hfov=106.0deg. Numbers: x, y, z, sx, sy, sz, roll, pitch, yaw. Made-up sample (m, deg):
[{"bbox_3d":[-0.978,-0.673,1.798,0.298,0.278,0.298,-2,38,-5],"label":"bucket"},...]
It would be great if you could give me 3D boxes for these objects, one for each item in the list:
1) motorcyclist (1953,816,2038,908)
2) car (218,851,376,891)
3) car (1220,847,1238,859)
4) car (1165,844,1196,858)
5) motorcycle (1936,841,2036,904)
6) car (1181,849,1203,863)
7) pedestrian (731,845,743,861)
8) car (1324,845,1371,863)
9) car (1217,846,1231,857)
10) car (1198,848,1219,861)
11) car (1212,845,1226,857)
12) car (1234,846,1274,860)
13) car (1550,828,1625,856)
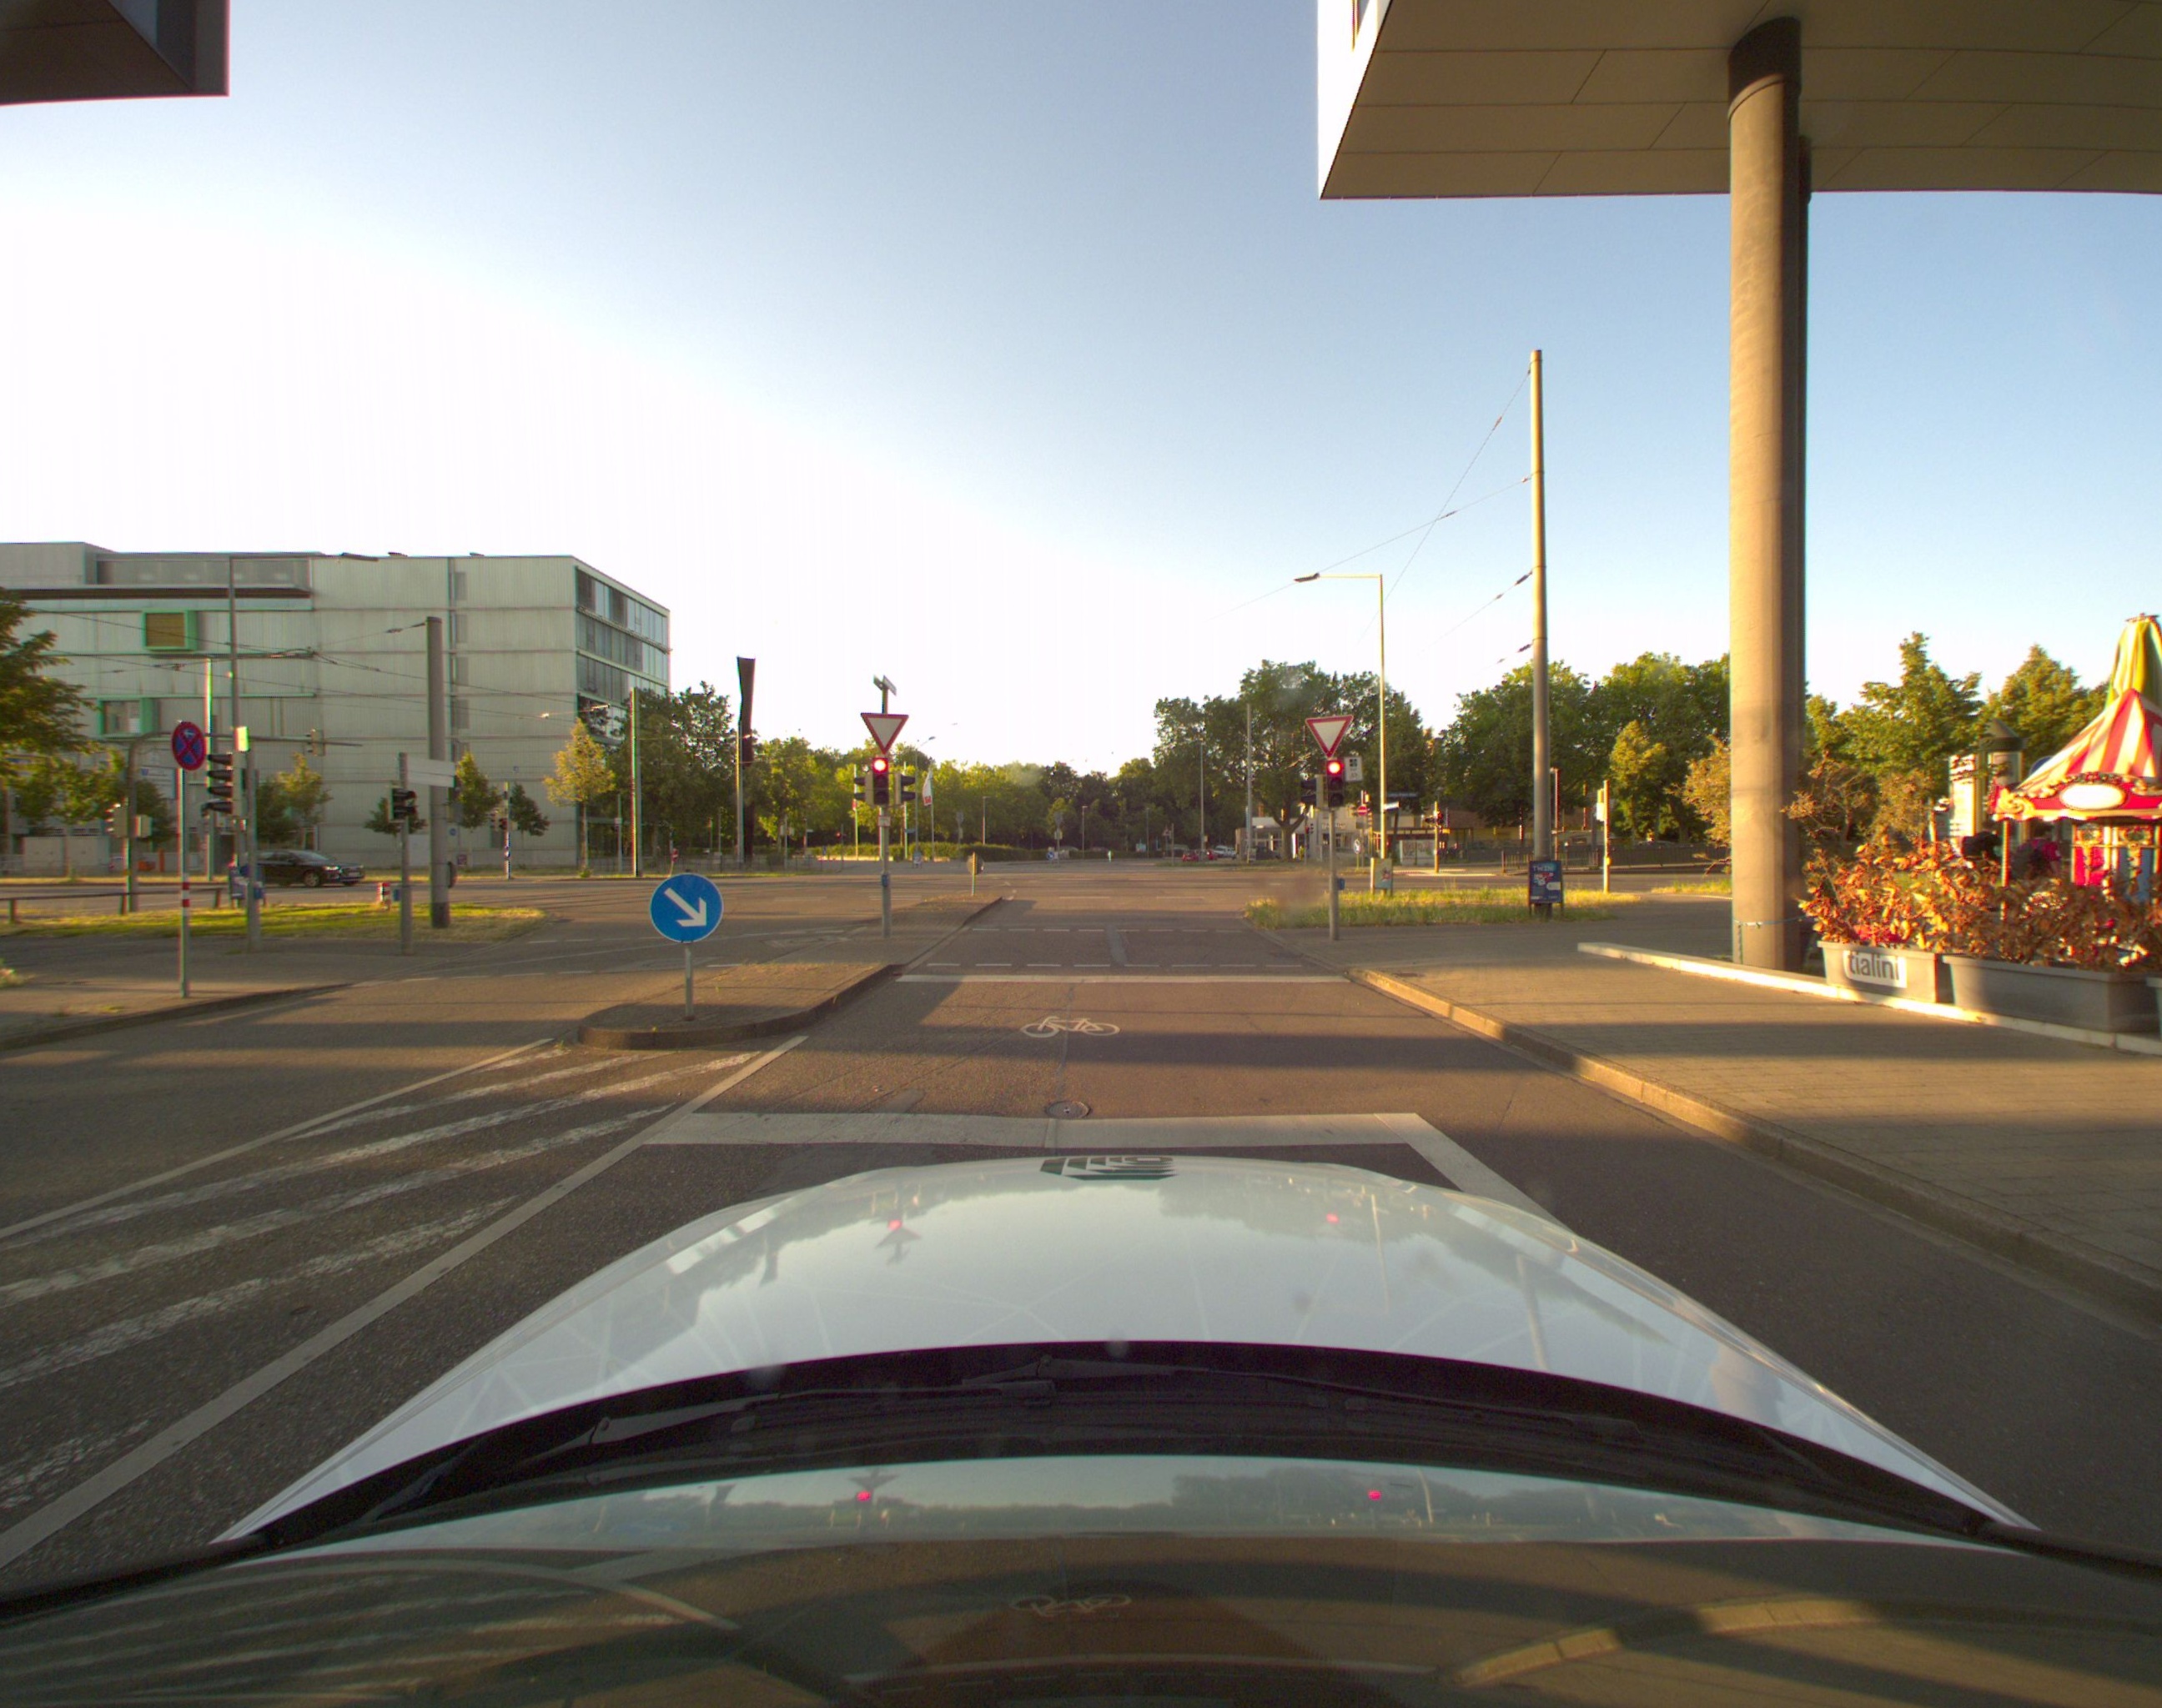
[{"bbox_3d":[17.771,0.147,15.840,0.896,1.746,0.676,-1,0,2],"label":"motorcyclist"},{"bbox_3d":[-32.539,0.695,33.902,4.467,1.557,1.986,-1,0,-4],"label":"car"},{"bbox_3d":[21.024,-0.148,115.326,1.978,1.662,4.018,-1,-1,17],"label":"car"},{"bbox_3d":[15.348,-0.493,125.753,4.753,2.006,2.002,-1,-1,3],"label":"car"},{"bbox_3d":[17.641,0.354,15.887,1.306,1.188,0.566,-1,0,1],"label":"motorcycle"},{"bbox_3d":[13.049,0.256,95.583,1.978,1.662,4.018,-1,-1,17],"label":"car"},{"bbox_3d":[-38.106,-0.146,90.298,0.852,1.744,0.835,0,0,30],"label":"pedestrian"},{"bbox_3d":[23.511,0.007,71.891,3.715,1.440,1.669,-1,-1,11],"label":"car"},{"bbox_3d":[23.861,-0.431,135.765,1.849,1.794,4.015,-1,-1,14],"label":"car"},{"bbox_3d":[16.149,0.084,103.204,1.978,1.662,4.018,-1,-1,17],"label":"car"},{"bbox_3d":[22.200,-0.418,130.906,1.850,1.794,4.013,-1,-1,12],"label":"car"},{"bbox_3d":[18.870,-0.099,88.926,4.194,1.552,2.005,-1,-1,9],"label":"car"},{"bbox_3d":[47.880,-1.115,77.083,5.561,2.551,2.235,-1,0,9],"label":"car"}]
